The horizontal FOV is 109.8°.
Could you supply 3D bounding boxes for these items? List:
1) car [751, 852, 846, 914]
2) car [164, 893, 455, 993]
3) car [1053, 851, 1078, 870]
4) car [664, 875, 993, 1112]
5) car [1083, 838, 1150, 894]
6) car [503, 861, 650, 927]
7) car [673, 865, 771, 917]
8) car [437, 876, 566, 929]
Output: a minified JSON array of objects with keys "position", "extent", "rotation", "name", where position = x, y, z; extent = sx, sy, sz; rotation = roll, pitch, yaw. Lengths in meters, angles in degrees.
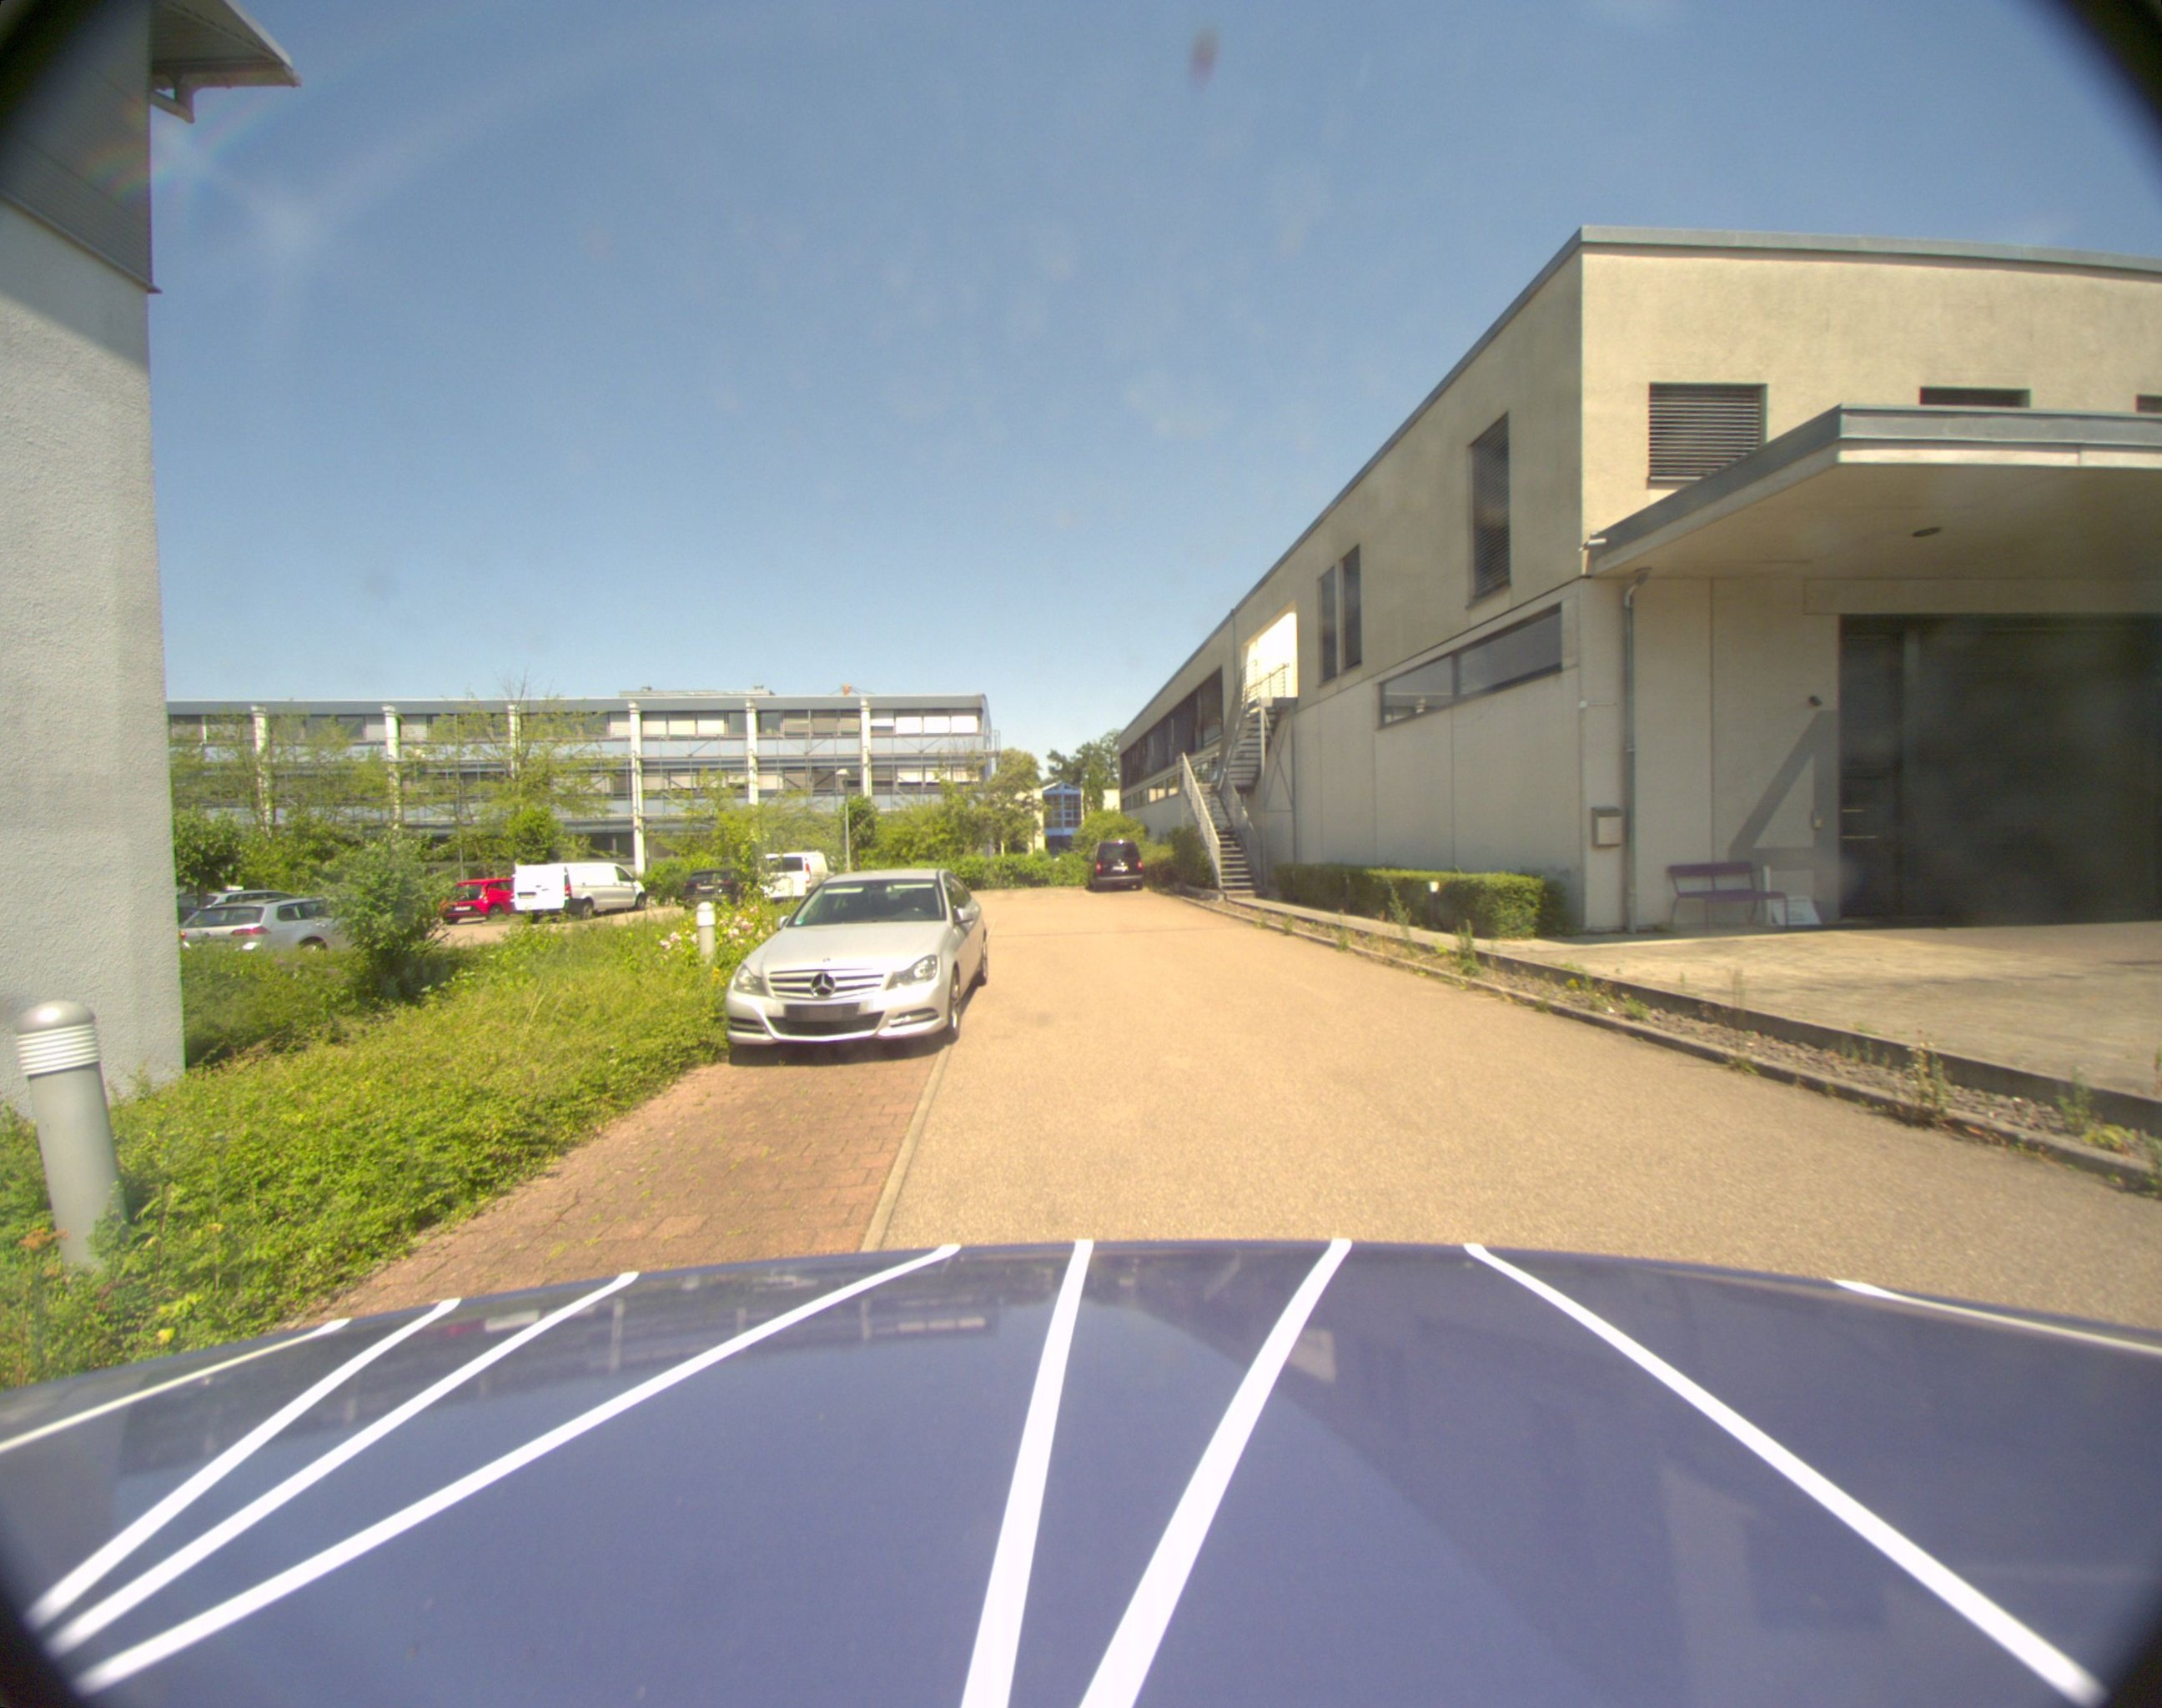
[{"position":[-9.822,0.914,26.831],"extent":[1.868,1.849,4.674],"rotation":[-3,1,-5],"name":"car"},{"position":[-16.042,1.749,16.229],"extent":[1.856,1.511,4.425],"rotation":[-3,0,-5],"name":"car"},{"position":[-1.462,0.593,71.178],"extent":[1.837,1.558,3.996],"rotation":[-2,2,-8],"name":"car"},{"position":[-1.989,1.023,7.463],"extent":[1.804,1.390,4.418],"rotation":[-2,1,-2],"name":"car"},{"position":[1.232,0.379,28.465],"extent":[1.868,1.849,4.226],"rotation":[-3,1,-5],"name":"car"},{"position":[-17.114,1.278,26.163],"extent":[1.856,1.845,4.932],"rotation":[-3,1,-3],"name":"car"},{"position":[-12.601,1.241,26.984],"extent":[1.739,1.475,4.195],"rotation":[-3,1,-5],"name":"car"},{"position":[-20.426,1.643,27.014],"extent":[1.624,1.479,3.919],"rotation":[-3,1,-3],"name":"car"}]
